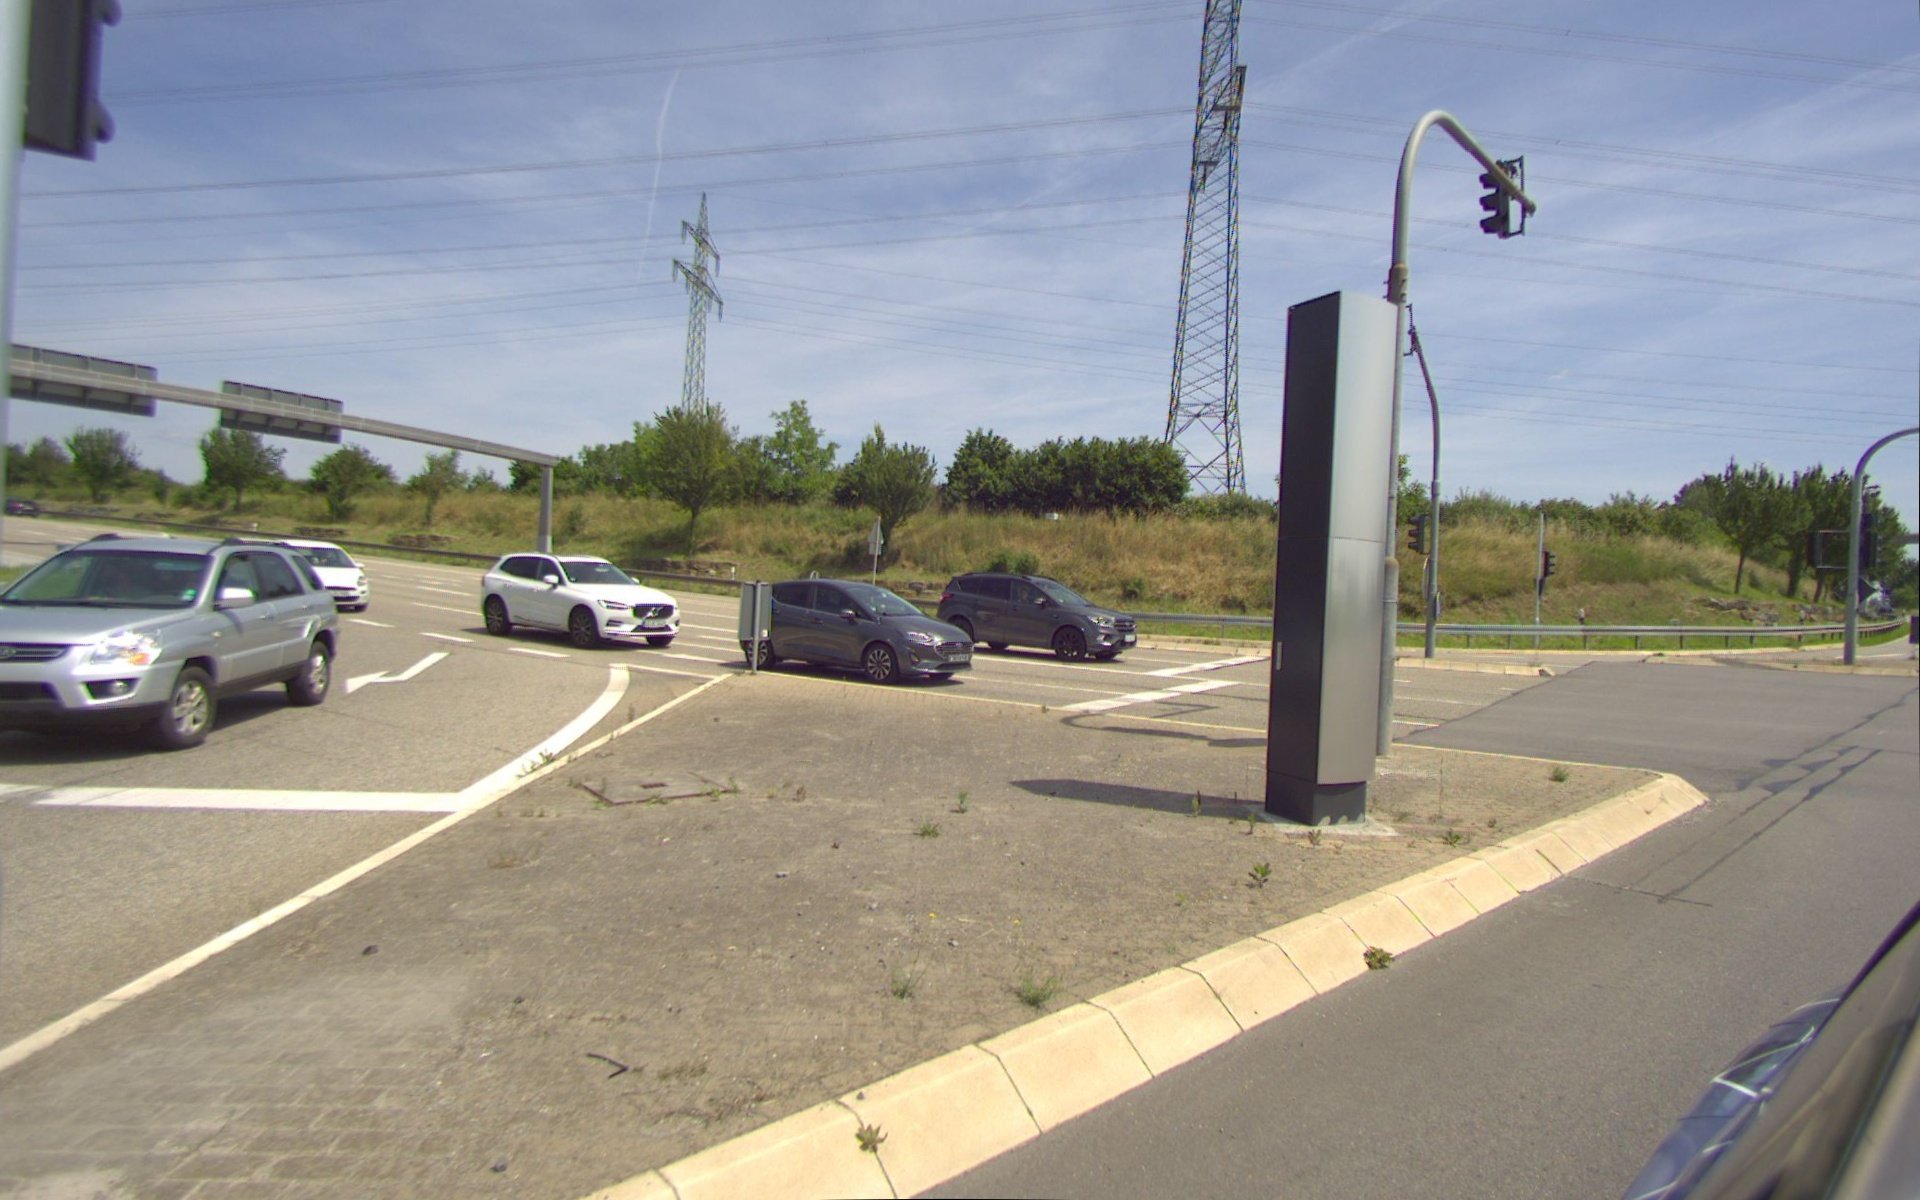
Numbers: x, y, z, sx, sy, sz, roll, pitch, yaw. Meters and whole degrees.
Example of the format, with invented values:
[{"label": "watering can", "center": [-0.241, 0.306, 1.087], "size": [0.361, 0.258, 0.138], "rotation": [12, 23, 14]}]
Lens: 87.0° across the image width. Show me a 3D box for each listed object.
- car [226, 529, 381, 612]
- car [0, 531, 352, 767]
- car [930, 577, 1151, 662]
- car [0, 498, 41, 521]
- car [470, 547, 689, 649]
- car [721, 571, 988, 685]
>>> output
[{"label": "car", "center": [-15.125, -0.712, 23.254], "size": [3.981, 1.619, 1.757], "rotation": [6, 3, 38]}, {"label": "car", "center": [-7.352, 0.270, 9.290], "size": [1.798, 1.675, 4.382], "rotation": [1, 2, -14]}, {"label": "car", "center": [1.622, 0.332, 21.121], "size": [4.345, 1.529, 1.694], "rotation": [2, 2, 36]}, {"label": "car", "center": [-75.275, -7.238, 80.612], "size": [4.264, 1.551, 1.732], "rotation": [5, 0, 30]}, {"label": "car", "center": [-7.392, -0.102, 19.491], "size": [4.345, 1.611, 1.758], "rotation": [5, 3, 34]}, {"label": "car", "center": [-1.689, 0.344, 15.702], "size": [3.973, 1.529, 1.695], "rotation": [2, 1, 34]}]
